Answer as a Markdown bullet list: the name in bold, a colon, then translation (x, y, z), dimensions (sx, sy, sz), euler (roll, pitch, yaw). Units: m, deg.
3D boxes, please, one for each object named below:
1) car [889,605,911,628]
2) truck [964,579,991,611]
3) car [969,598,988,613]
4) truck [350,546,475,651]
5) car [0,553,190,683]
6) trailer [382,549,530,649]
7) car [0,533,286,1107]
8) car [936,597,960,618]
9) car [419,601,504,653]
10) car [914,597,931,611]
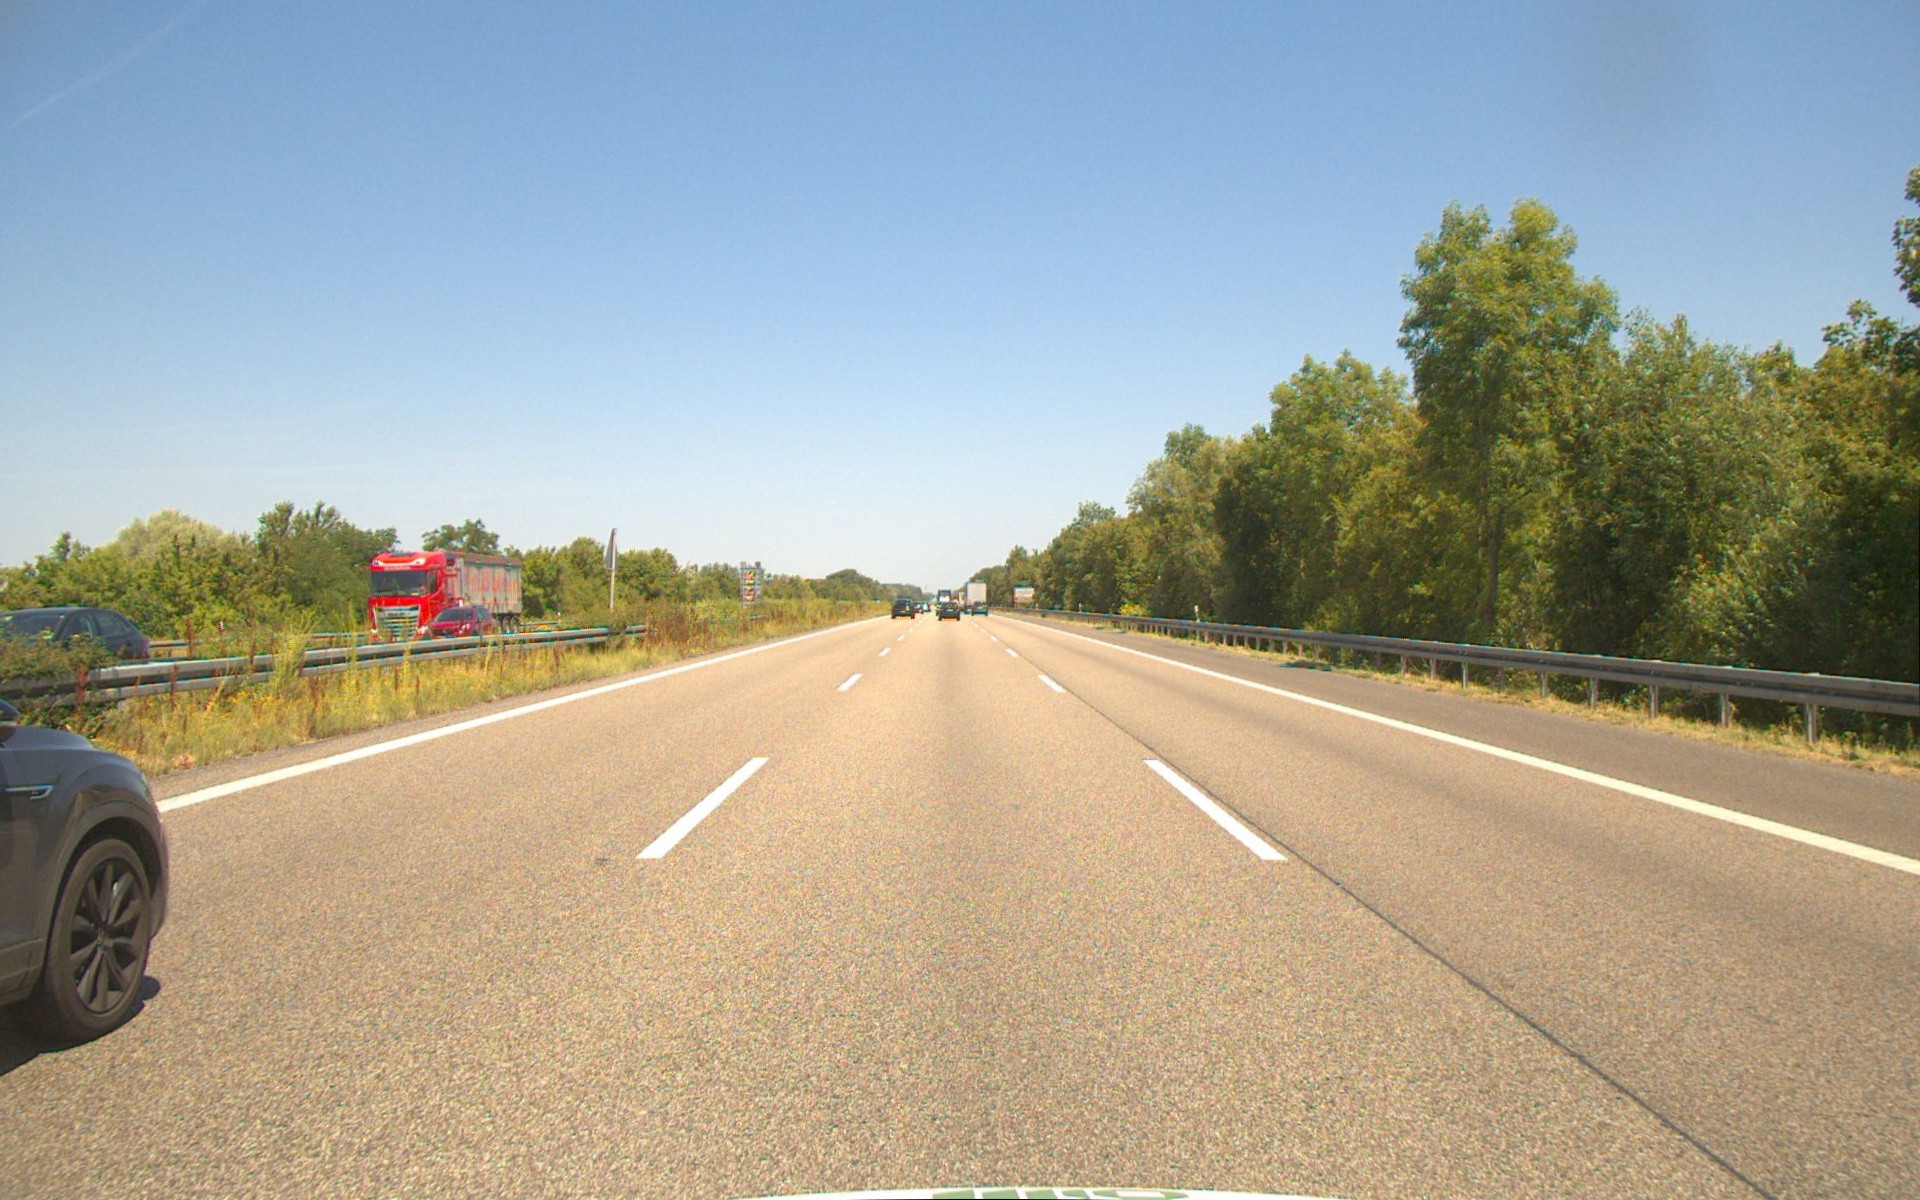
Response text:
- **car**: translation (-5.054, 1.402, 140.073), dimensions (1.842, 1.823, 3.999), euler (0, 1, -2)
- **truck**: translation (2.242, -0.654, 214.813), dimensions (3.316, 4.040, 9.536), euler (-1, 0, 0)
- **car**: translation (2.018, 0.634, 183.792), dimensions (2.085, 1.611, 4.304), euler (-1, 0, 0)
- **truck**: translation (-21.526, -0.058, 65.367), dimensions (3.015, 3.937, 5.591), euler (-1, 0, 0)
- **car**: translation (-13.081, 0.201, 24.169), dimensions (1.805, 1.734, 4.000), euler (0, 1, 0)
- **trailer**: translation (-21.485, -0.055, 71.313), dimensions (3.015, 3.937, 10.906), euler (-1, 0, 0)
- **car**: translation (-3.711, 0.651, 4.359), dimensions (1.842, 1.668, 5.009), euler (0, 1, 0)
- **car**: translation (-0.929, 0.585, 128.945), dimensions (1.864, 1.611, 4.304), euler (-1, 0, 0)
- **car**: translation (-17.314, 0.906, 57.595), dimensions (1.620, 1.673, 4.333), euler (-1, 0, 0)
- **car**: translation (-4.693, 0.535, 208.322), dimensions (2.085, 1.674, 4.304), euler (-1, 0, 0)
